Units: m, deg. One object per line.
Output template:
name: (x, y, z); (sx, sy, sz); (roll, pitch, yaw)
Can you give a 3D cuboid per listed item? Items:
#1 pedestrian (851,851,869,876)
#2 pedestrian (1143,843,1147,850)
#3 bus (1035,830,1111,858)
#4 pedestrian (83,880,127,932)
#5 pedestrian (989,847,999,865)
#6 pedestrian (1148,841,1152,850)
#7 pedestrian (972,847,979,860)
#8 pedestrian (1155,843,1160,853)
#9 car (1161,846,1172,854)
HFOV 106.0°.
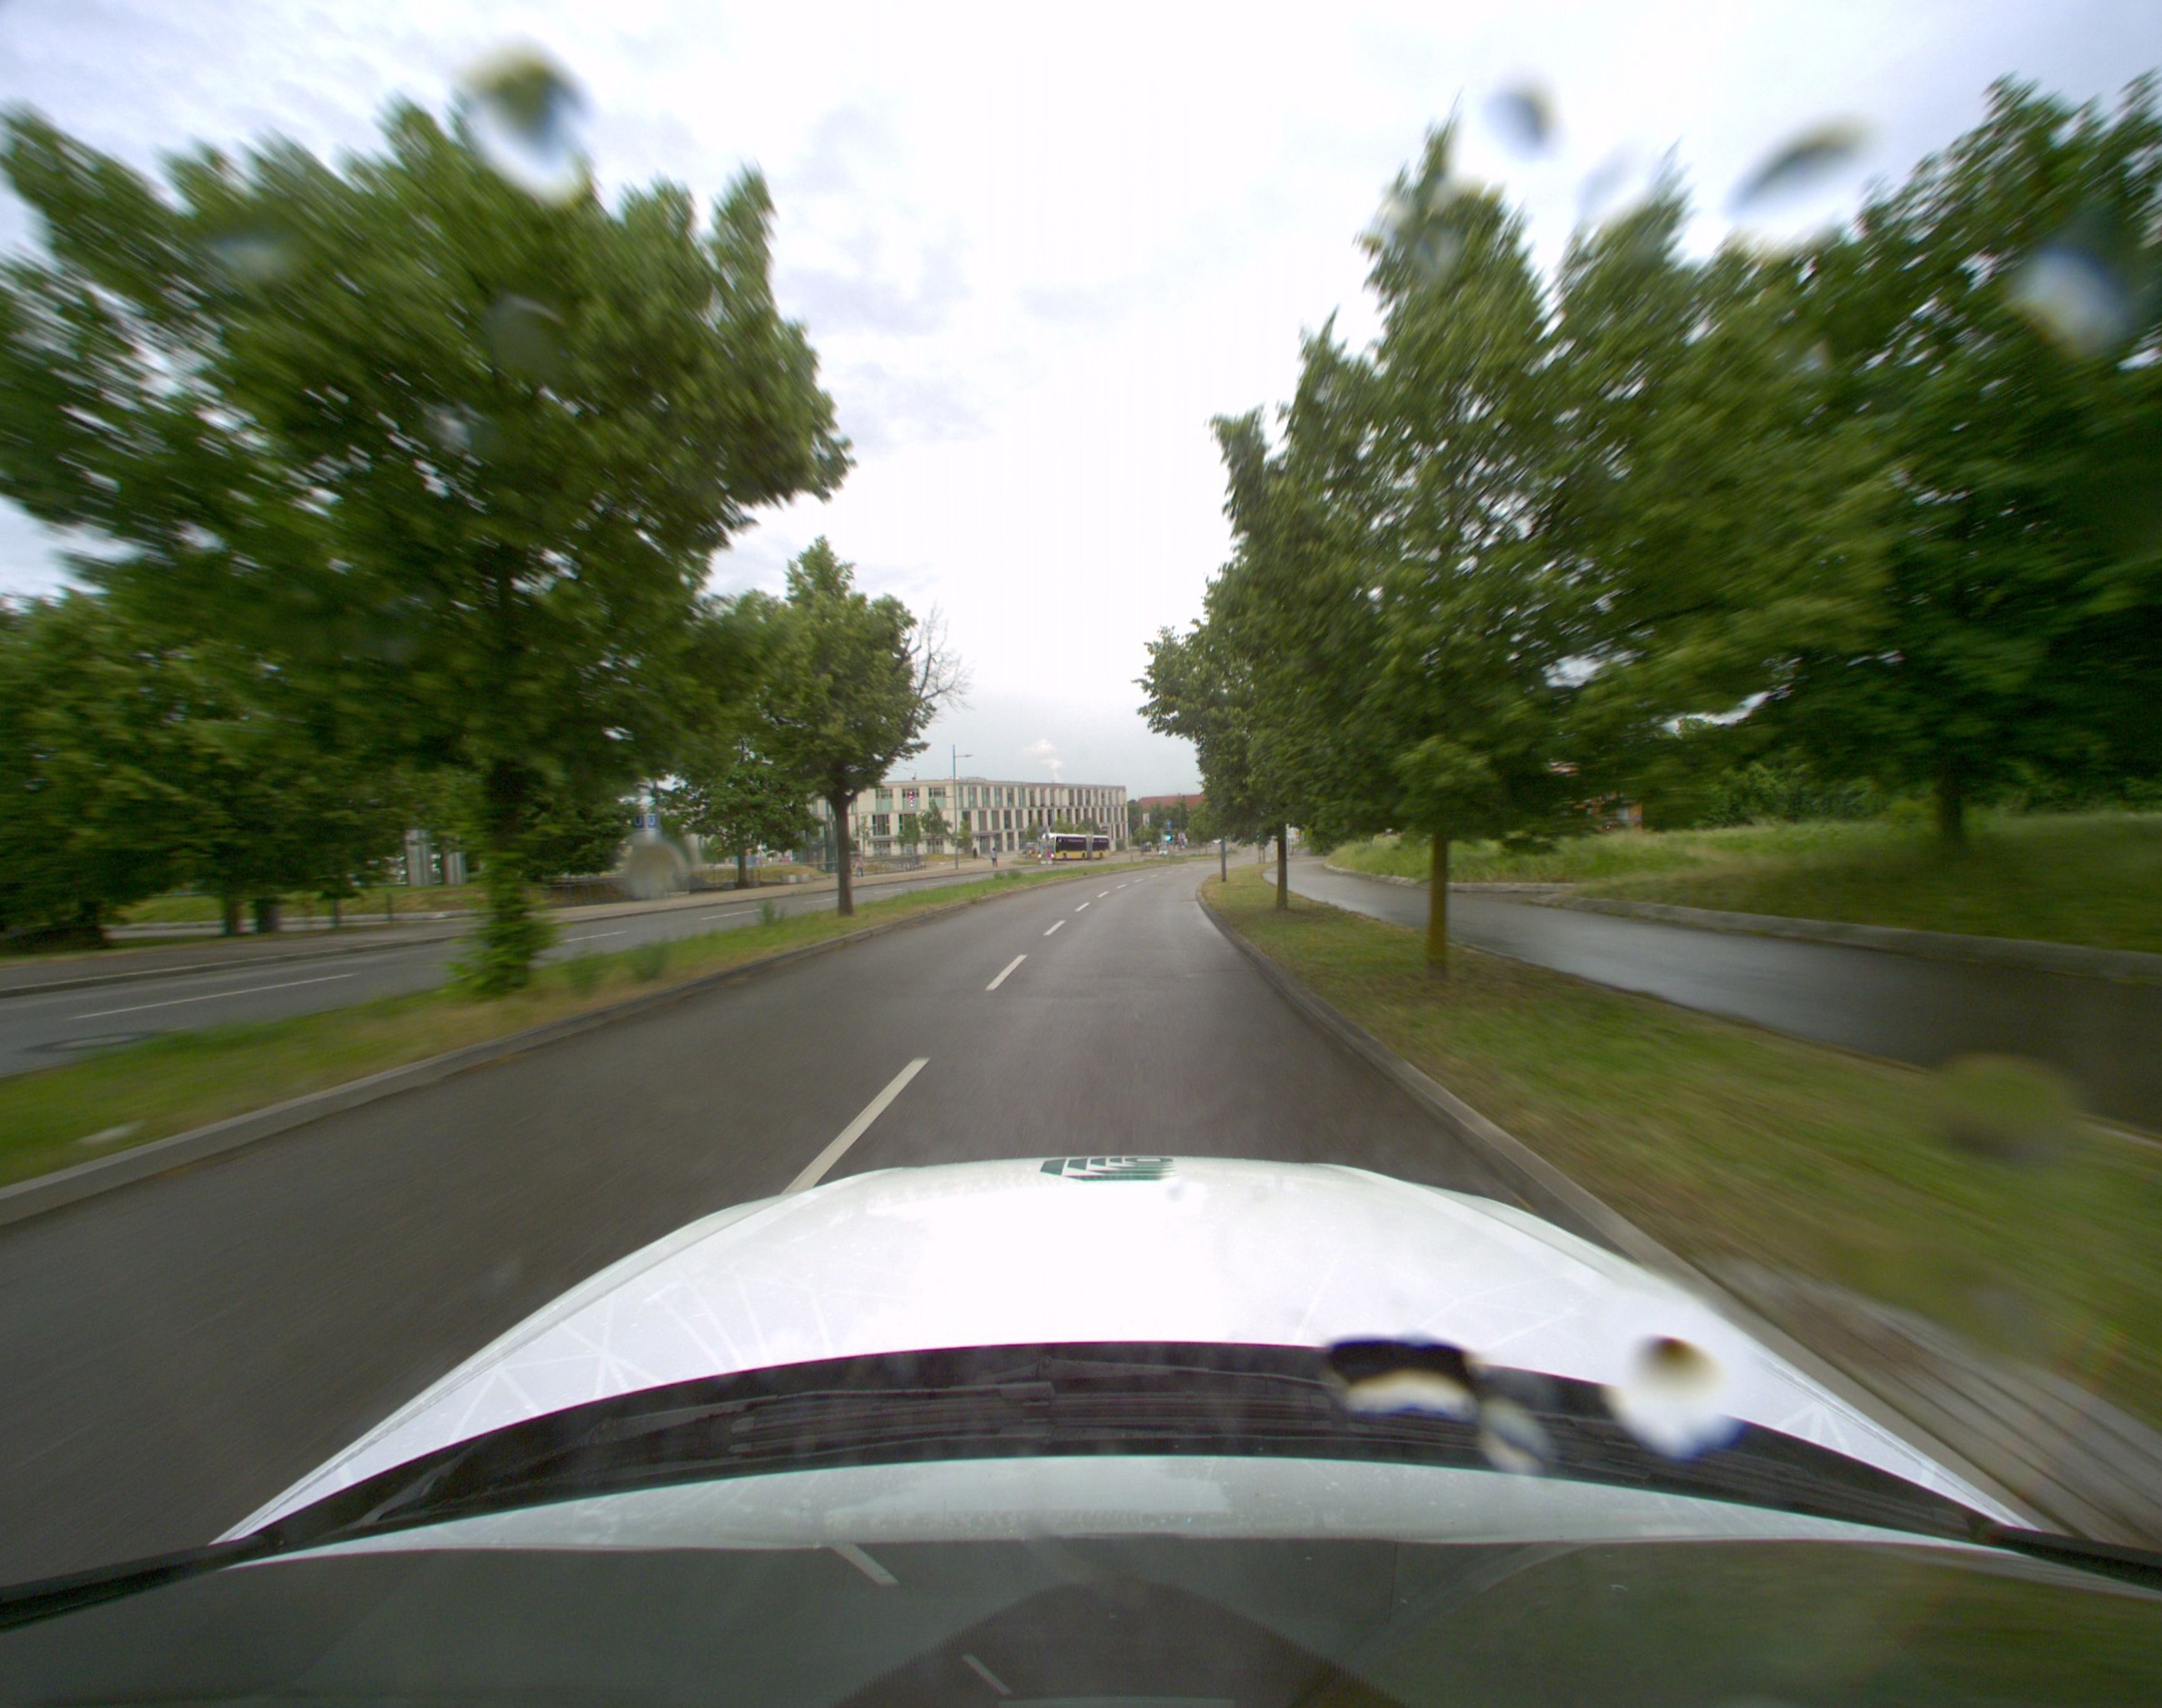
pedestrian: (-14.956, 0.640, 55.185); (0.809, 1.621, 0.937); (-1, -1, 9)
pedestrian: (13.783, -1.644, 174.595); (0.832, 1.532, 0.751); (-1, -1, 3)
bus: (-0.694, -1.147, 107.821); (2.760, 3.357, 18.328); (-2, -1, 24)
pedestrian: (-33.753, 1.795, 28.167); (0.642, 1.728, 0.757); (-1, -1, 9)
pedestrian: (-7.722, 0.211, 72.454); (0.833, 1.573, 0.717); (-1, -1, -8)
pedestrian: (14.672, -1.791, 174.161); (0.746, 1.853, 0.837); (-1, -1, -2)
pedestrian: (-12.435, -0.062, 96.066); (0.680, 1.524, 0.719); (-1, -1, -2)
pedestrian: (15.326, -1.229, 163.583); (0.746, 1.947, 0.837); (-1, -1, -2)
car: (15.503, -0.707, 147.584); (1.465, 1.494, 2.544); (-2, -1, 22)
